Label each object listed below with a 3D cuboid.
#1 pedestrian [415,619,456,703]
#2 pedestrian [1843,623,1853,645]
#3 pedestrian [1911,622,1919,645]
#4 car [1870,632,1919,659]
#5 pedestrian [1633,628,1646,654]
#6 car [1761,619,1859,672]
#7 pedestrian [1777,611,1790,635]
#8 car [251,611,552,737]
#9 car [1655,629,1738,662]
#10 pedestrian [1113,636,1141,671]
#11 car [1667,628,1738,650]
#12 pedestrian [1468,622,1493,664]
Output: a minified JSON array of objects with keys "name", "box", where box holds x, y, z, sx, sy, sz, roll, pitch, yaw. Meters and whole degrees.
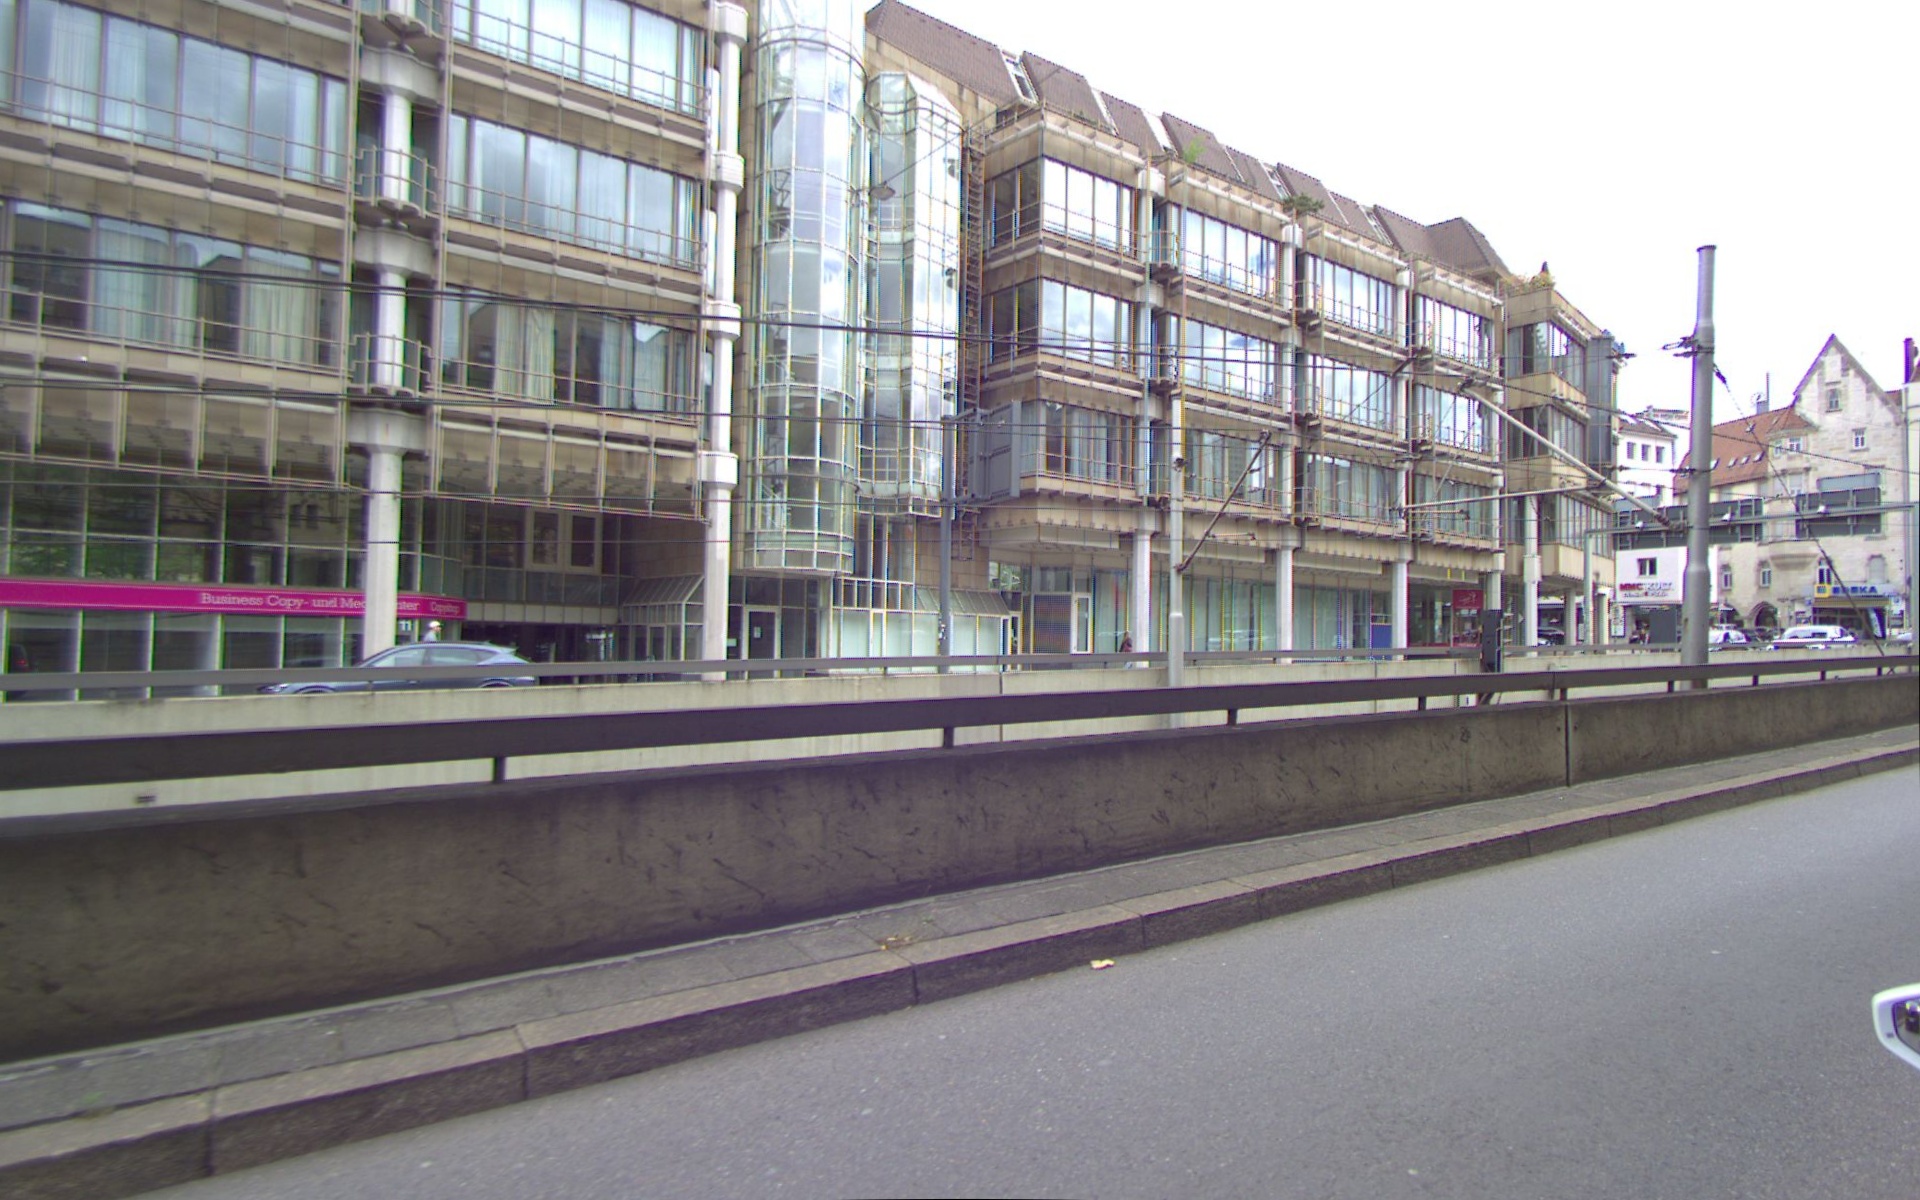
[{"name":"pedestrian","box":[-11.744,1.350,22.481,0.731,1.816,0.726,1,0,-32]},{"name":"pedestrian","box":[73.632,2.815,83.303,0.507,1.803,0.570,1,-1,-40]},{"name":"pedestrian","box":[72.803,2.516,76.212,0.643,1.728,0.781,1,-1,-20]},{"name":"car","box":[56.244,2.699,60.055,3.997,1.521,1.656,1,-2,-31]},{"name":"pedestrian","box":[46.313,2.791,68.462,0.569,1.803,0.508,1,-1,-24]},{"name":"car","box":[33.481,1.747,39.546,4.560,1.867,1.821,2,2,-36]},{"name":"pedestrian","box":[61.249,1.721,74.733,0.501,1.803,0.577,0,-1,0]},{"name":"car","box":[-9.641,1.234,17.557,4.332,1.939,1.982,2,-1,-33]},{"name":"car","box":[35.516,2.168,48.418,4.363,1.521,1.656,1,-2,-31]},{"name":"pedestrian","box":[6.283,2.002,37.709,0.731,1.282,0.726,1,-1,-32]},{"name":"car","box":[52.342,2.709,70.824,3.981,1.521,1.662,-1,-2,39]},{"name":"pedestrian","box":[23.651,1.949,45.674,0.731,1.835,0.726,1,0,-32]}]
